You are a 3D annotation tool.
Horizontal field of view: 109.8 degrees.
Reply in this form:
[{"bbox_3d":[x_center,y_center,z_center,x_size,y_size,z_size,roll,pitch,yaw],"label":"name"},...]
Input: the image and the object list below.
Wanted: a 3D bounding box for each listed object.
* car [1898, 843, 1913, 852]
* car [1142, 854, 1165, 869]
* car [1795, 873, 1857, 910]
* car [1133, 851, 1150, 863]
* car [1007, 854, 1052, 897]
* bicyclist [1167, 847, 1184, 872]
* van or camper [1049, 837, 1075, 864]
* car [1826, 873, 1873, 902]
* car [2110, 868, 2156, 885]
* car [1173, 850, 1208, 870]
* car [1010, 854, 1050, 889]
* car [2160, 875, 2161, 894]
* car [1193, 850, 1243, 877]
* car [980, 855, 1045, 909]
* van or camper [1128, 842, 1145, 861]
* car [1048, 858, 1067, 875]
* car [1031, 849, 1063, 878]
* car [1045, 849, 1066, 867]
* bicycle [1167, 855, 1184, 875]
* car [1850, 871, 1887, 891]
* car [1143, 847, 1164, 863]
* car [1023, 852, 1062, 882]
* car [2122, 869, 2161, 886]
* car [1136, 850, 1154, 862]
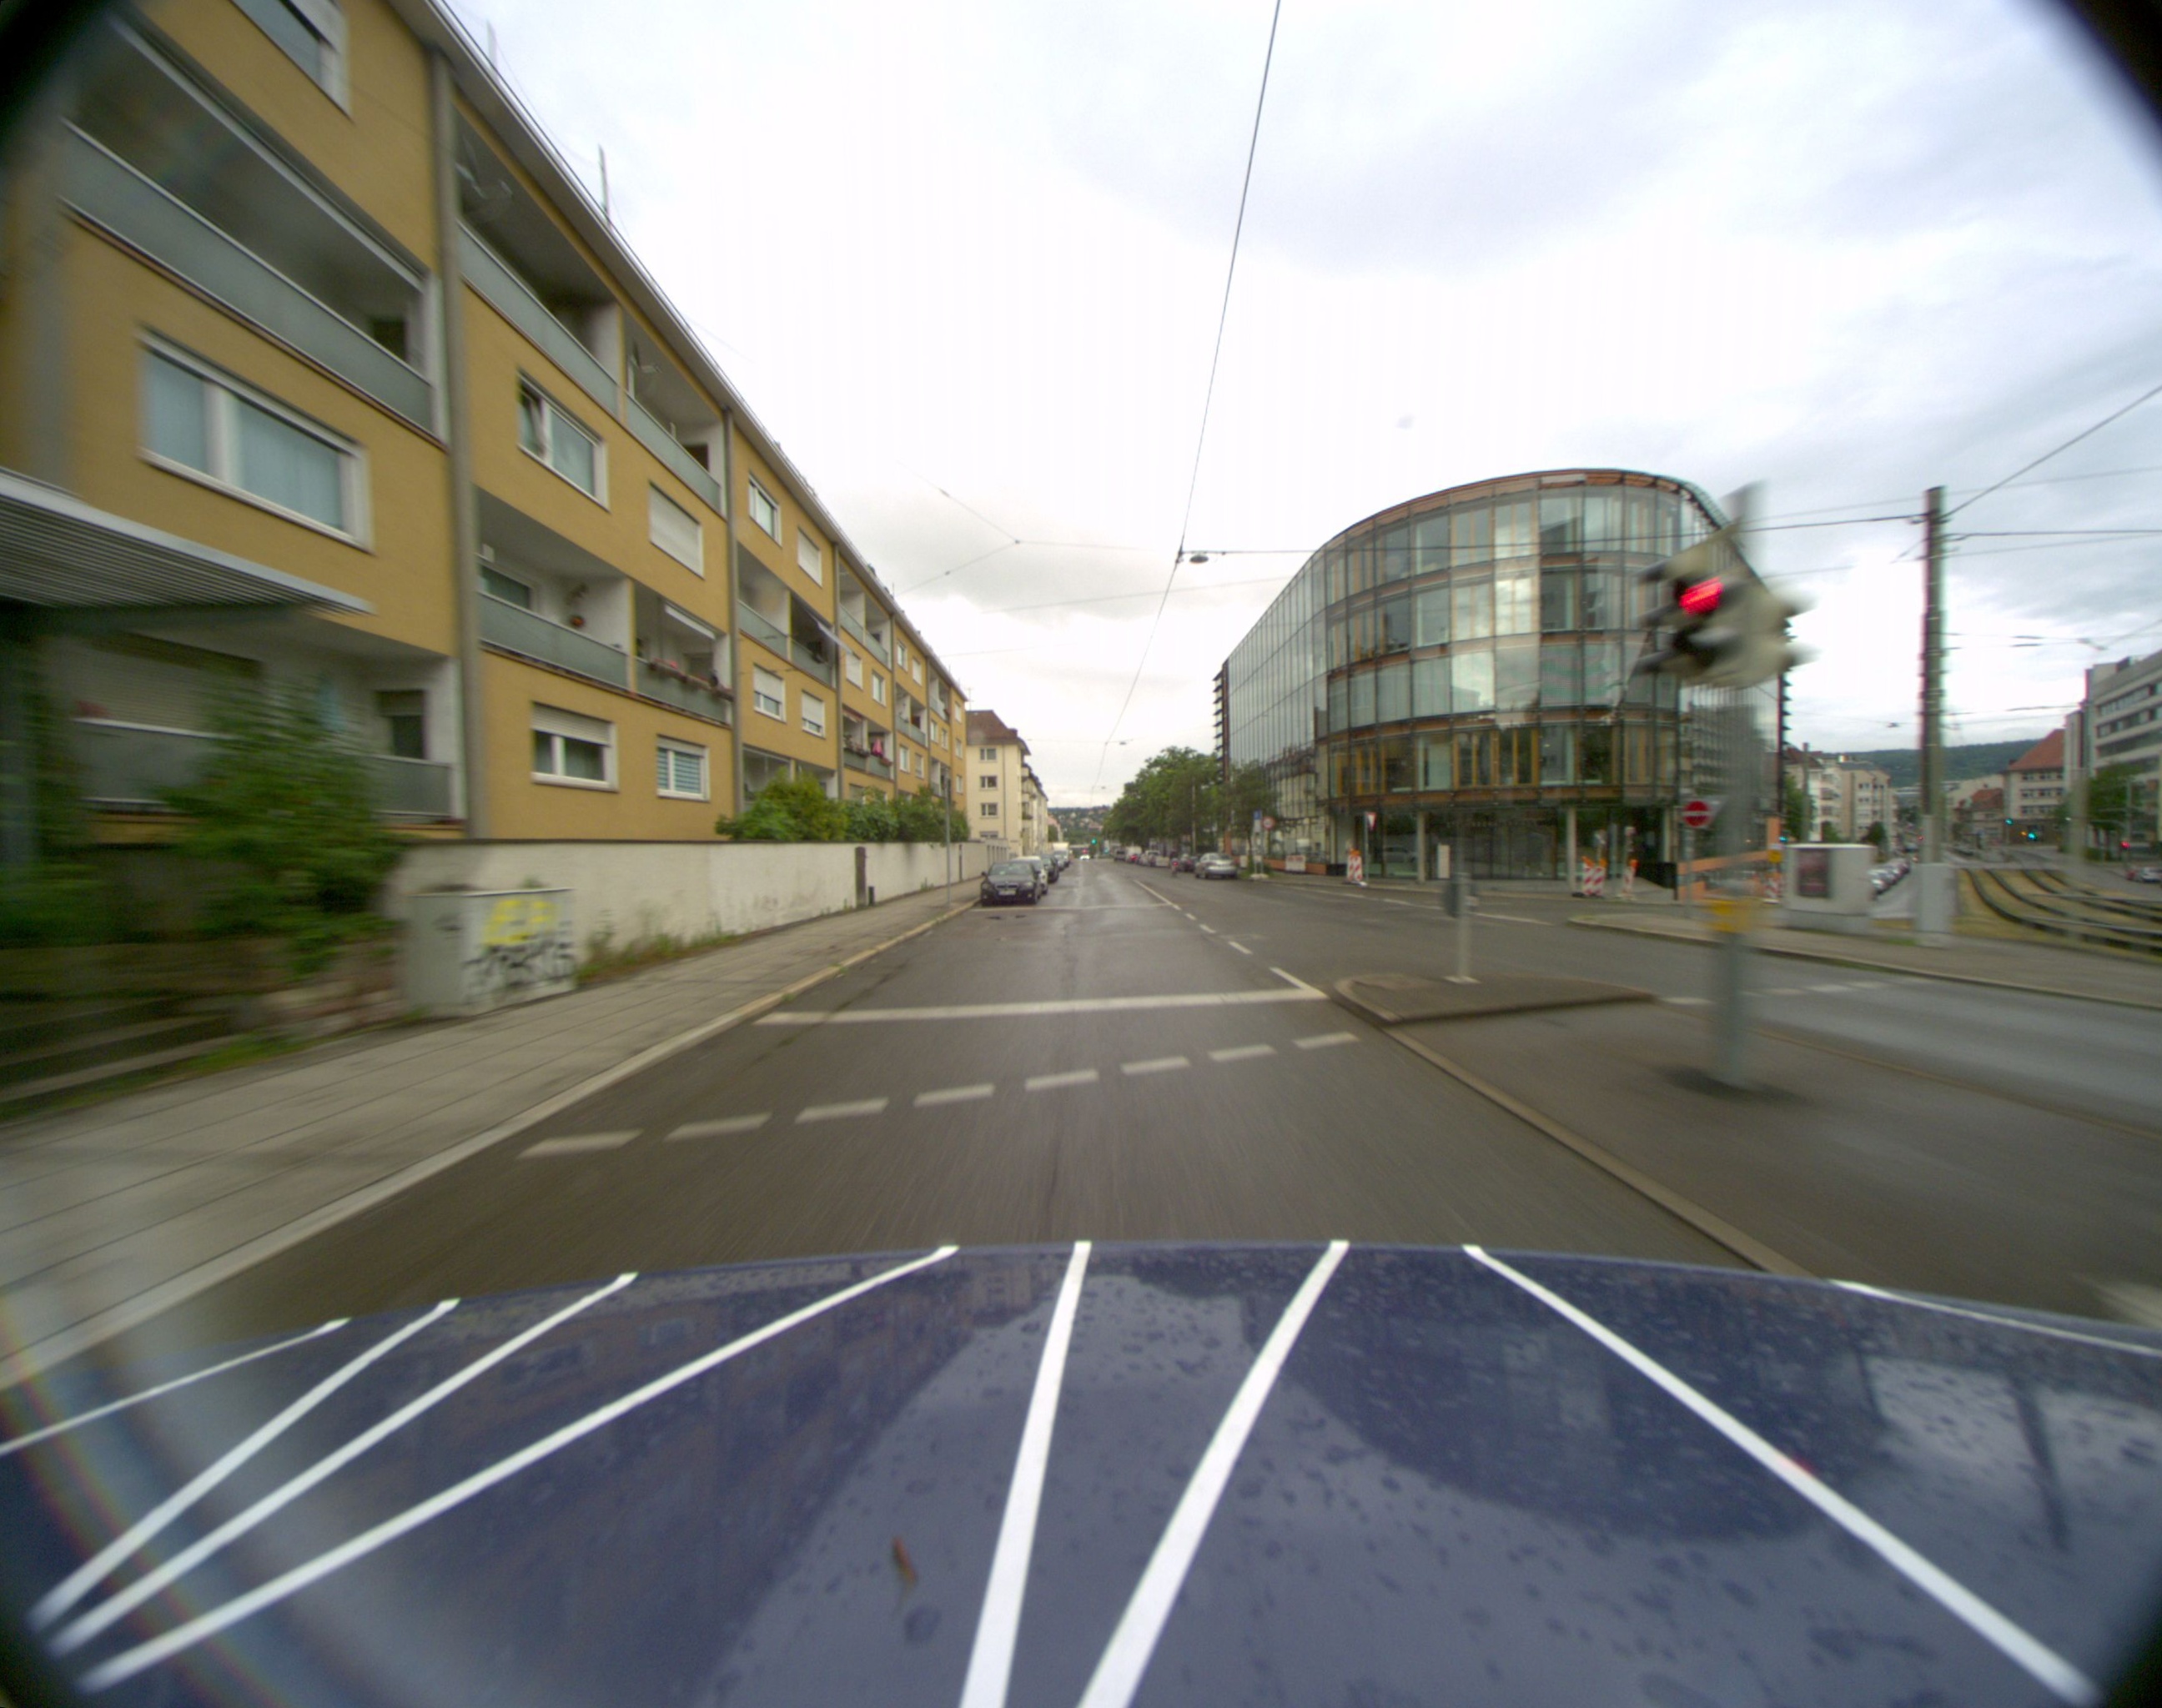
[{"bbox_3d":[166.304,-1.355,153.173,4.007,1.740,1.912,-4,2,-41],"label":"car"},{"bbox_3d":[7.852,0.795,82.251,1.881,1.390,3.998,-1,2,-3],"label":"car"},{"bbox_3d":[37.306,1.820,38.005,4.007,1.488,1.912,-4,2,-41],"label":"car"},{"bbox_3d":[8.660,0.388,108.163,1.999,1.566,3.998,-2,2,-1],"label":"car"},{"bbox_3d":[-2.034,0.830,31.049,1.652,1.452,4.100,-2,2,-2],"label":"car"},{"bbox_3d":[5.813,0.333,46.827,0.826,1.453,1.140,-2,2,0],"label":"bicyclist"},{"bbox_3d":[-2.310,-0.461,94.178,2.754,3.041,7.028,-2,2,1],"label":"van or camper"},{"bbox_3d":[49.720,2.167,49.129,4.010,1.739,1.912,4,-3,-41],"label":"car"},{"bbox_3d":[101.504,2.224,73.351,4.322,1.498,1.994,4,-3,-44],"label":"car"},{"bbox_3d":[8.325,0.411,57.990,1.727,1.455,4.328,0,0,-4],"label":"car"},{"bbox_3d":[-2.407,0.784,36.638,1.690,1.445,3.552,-2,2,0],"label":"car"},{"bbox_3d":[87.746,2.400,60.134,4.713,1.498,1.994,4,-3,-44],"label":"car"},{"bbox_3d":[7.596,0.499,42.550,1.863,1.386,4.644,-1,0,-1],"label":"car"},{"bbox_3d":[-2.196,0.872,25.427,1.734,1.451,4.476,-2,2,0],"label":"car"},{"bbox_3d":[8.318,-0.365,113.974,2.143,2.588,5.549,-2,2,1],"label":"van or camper"},{"bbox_3d":[-2.248,1.189,74.162,1.740,1.370,3.969,-2,2,0],"label":"car"},{"bbox_3d":[-2.125,0.551,48.080,1.806,1.637,4.574,-2,2,0],"label":"car"},{"bbox_3d":[-2.304,0.340,68.498,1.740,1.370,3.837,-2,2,0],"label":"car"},{"bbox_3d":[5.815,0.660,46.833,0.826,1.142,2.126,-1,2,0],"label":"bicycle"},{"bbox_3d":[60.709,2.037,58.567,4.009,1.500,1.784,1,-1,-41],"label":"car"},{"bbox_3d":[8.305,0.041,87.535,1.881,1.700,3.998,-1,2,-3],"label":"car"},{"bbox_3d":[-2.082,0.700,42.437,1.916,1.418,4.450,-2,2,0],"label":"car"},{"bbox_3d":[97.994,2.174,69.945,4.322,1.498,1.994,4,-3,-44],"label":"car"},{"bbox_3d":[8.262,0.273,98.707,1.881,1.456,3.516,-1,2,-3],"label":"car"}]
